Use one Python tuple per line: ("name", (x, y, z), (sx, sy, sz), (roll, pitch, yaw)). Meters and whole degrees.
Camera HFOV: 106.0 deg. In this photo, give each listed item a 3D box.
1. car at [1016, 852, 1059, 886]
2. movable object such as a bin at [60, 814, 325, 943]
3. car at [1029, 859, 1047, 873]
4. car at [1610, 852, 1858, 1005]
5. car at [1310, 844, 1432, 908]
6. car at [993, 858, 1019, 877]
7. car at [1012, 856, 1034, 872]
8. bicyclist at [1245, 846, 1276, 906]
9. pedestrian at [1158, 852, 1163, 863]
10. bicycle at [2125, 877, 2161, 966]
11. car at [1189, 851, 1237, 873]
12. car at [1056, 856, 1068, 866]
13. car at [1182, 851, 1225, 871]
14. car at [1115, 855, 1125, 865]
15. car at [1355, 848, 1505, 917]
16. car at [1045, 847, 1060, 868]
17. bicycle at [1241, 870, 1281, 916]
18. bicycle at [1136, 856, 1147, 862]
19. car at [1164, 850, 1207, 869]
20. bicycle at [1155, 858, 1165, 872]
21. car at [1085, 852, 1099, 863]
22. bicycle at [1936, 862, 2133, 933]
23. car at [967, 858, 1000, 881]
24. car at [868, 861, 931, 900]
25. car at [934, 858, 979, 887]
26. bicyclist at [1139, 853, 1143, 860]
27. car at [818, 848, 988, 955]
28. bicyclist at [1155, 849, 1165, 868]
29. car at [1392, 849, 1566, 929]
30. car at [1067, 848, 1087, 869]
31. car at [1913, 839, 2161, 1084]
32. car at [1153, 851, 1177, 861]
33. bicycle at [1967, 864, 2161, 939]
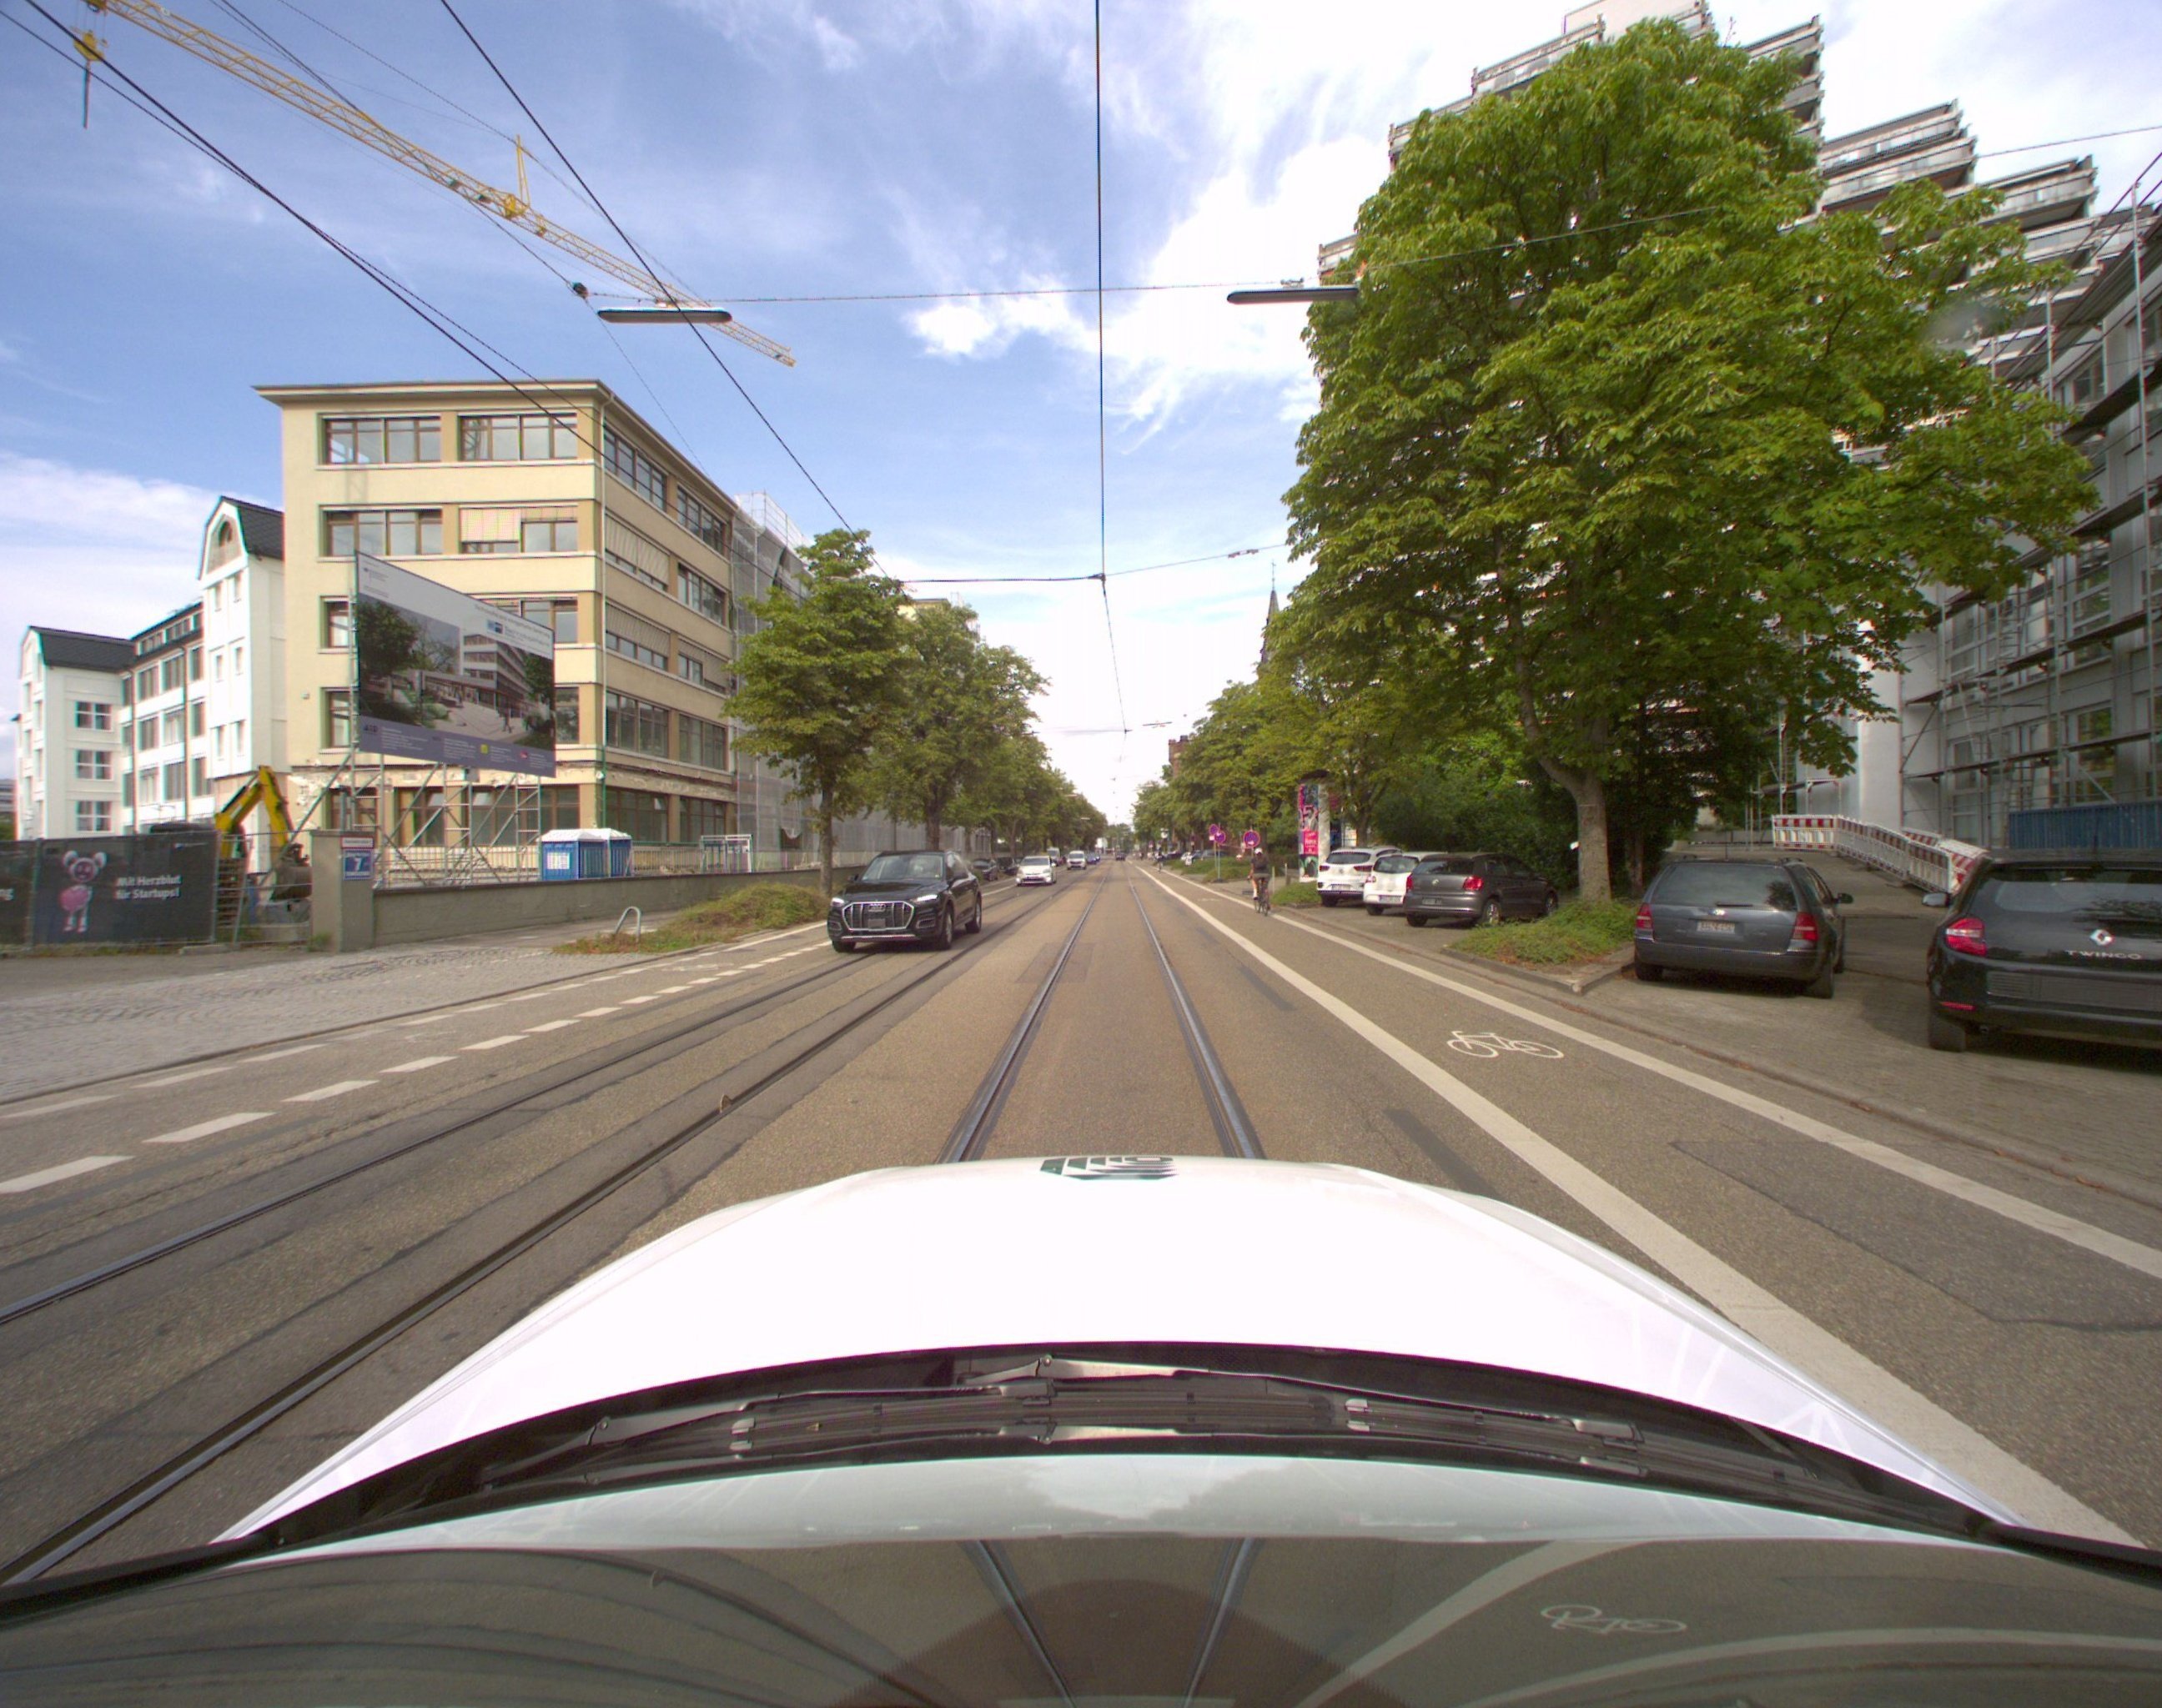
("car", (-2.142, 0.717, 41.340), (1.725, 1.612, 4.337), (-1, 0, 2))
("movable object such as a bin", (-18.349, 0.495, 16.960), (3.030, 2.443, 2.506), (-1, -1, 12))
("car", (-4.376, 1.197, 83.223), (1.585, 1.402, 3.962), (0, 0, 0))
("car", (7.886, 0.699, 9.678), (4.194, 1.415, 1.794), (0, -1, -45))
("car", (8.054, 0.559, 22.490), (3.667, 1.602, 1.661), (0, -1, -43))
("car", (-5.779, 0.996, 62.725), (1.585, 1.402, 3.962), (0, 0, 0))
("car", (-5.175, 0.871, 73.018), (1.585, 1.402, 3.962), (0, 0, 0))
("bicyclist", (4.504, 0.541, 20.494), (0.591, 1.459, 0.875), (-1, 0, 0))
("pedestrian", (14.058, 0.616, 144.309), (0.742, 1.790, 0.734), (-1, -1, 17))
("bicycle", (13.619, 0.782, 9.426), (1.817, 1.043, 0.456), (-2, -1, 31))
("car", (9.992, 0.595, 61.509), (3.667, 1.602, 1.661), (0, -1, -43))
("car", (-2.821, 0.965, 119.245), (1.585, 1.402, 3.962), (0, 0, 0))
("car", (10.318, 0.596, 68.311), (3.667, 1.602, 1.661), (0, -1, -43))
("car", (7.183, 1.092, 151.976), (1.788, 1.824, 4.680), (0, 0, 2))
("car", (8.298, 0.620, 19.265), (3.663, 1.474, 1.663), (0, -1, -37))
("car", (-3.698, 0.427, 106.776), (1.715, 2.704, 5.470), (0, 0, 0))
("bicycle", (4.504, 0.962, 20.491), (0.591, 1.043, 1.978), (-1, 0, 0))
("bicycle", (12.425, 0.993, 166.851), (2.260, 1.189, 0.771), (-1, 0, 10))
("car", (9.057, 0.489, 70.438), (3.667, 1.602, 1.661), (0, -1, -43))
("bicycle", (6.050, 0.851, 62.329), (0.661, 1.043, 1.842), (-1, 0, 3))
("car", (1.527, 0.479, 113.250), (1.725, 1.496, 4.381), (-1, 0, 2))
("bicycle", (15.119, 0.658, 12.999), (1.952, 1.043, 0.598), (0, 0, 39))
("car", (-6.235, 0.954, 52.417), (1.585, 1.402, 3.962), (0, 0, 0))
("car", (-7.169, 1.018, 32.565), (1.585, 1.402, 3.962), (0, 0, 0))
("car", (-6.550, 0.945, 43.217), (1.629, 1.496, 3.964), (0, 0, 2))
("bicyclist", (12.330, 0.506, 166.862), (0.841, 1.504, 0.771), (-1, 0, 10))
("car", (-2.945, 0.719, 14.490), (1.840, 1.612, 4.337), (-1, 0, 3))
("bicyclist", (6.051, 0.346, 62.338), (0.656, 1.496, 0.930), (-1, 0, 3))
("car", (8.028, 0.637, 16.342), (3.663, 1.419, 1.663), (0, -1, -37))
("car", (-0.361, 0.415, 76.992), (1.726, 1.884, 4.379), (-1, 0, 1))
("car", (7.892, 0.663, 6.491), (3.436, 1.537, 1.577), (-1, 0, -41))
("car", (14.854, 0.397, 144.625), (3.978, 1.693, 1.998), (-1, 0, -3))
("bicycle", (14.754, 0.685, 12.164), (1.952, 1.043, 0.598), (-1, 0, 30))
